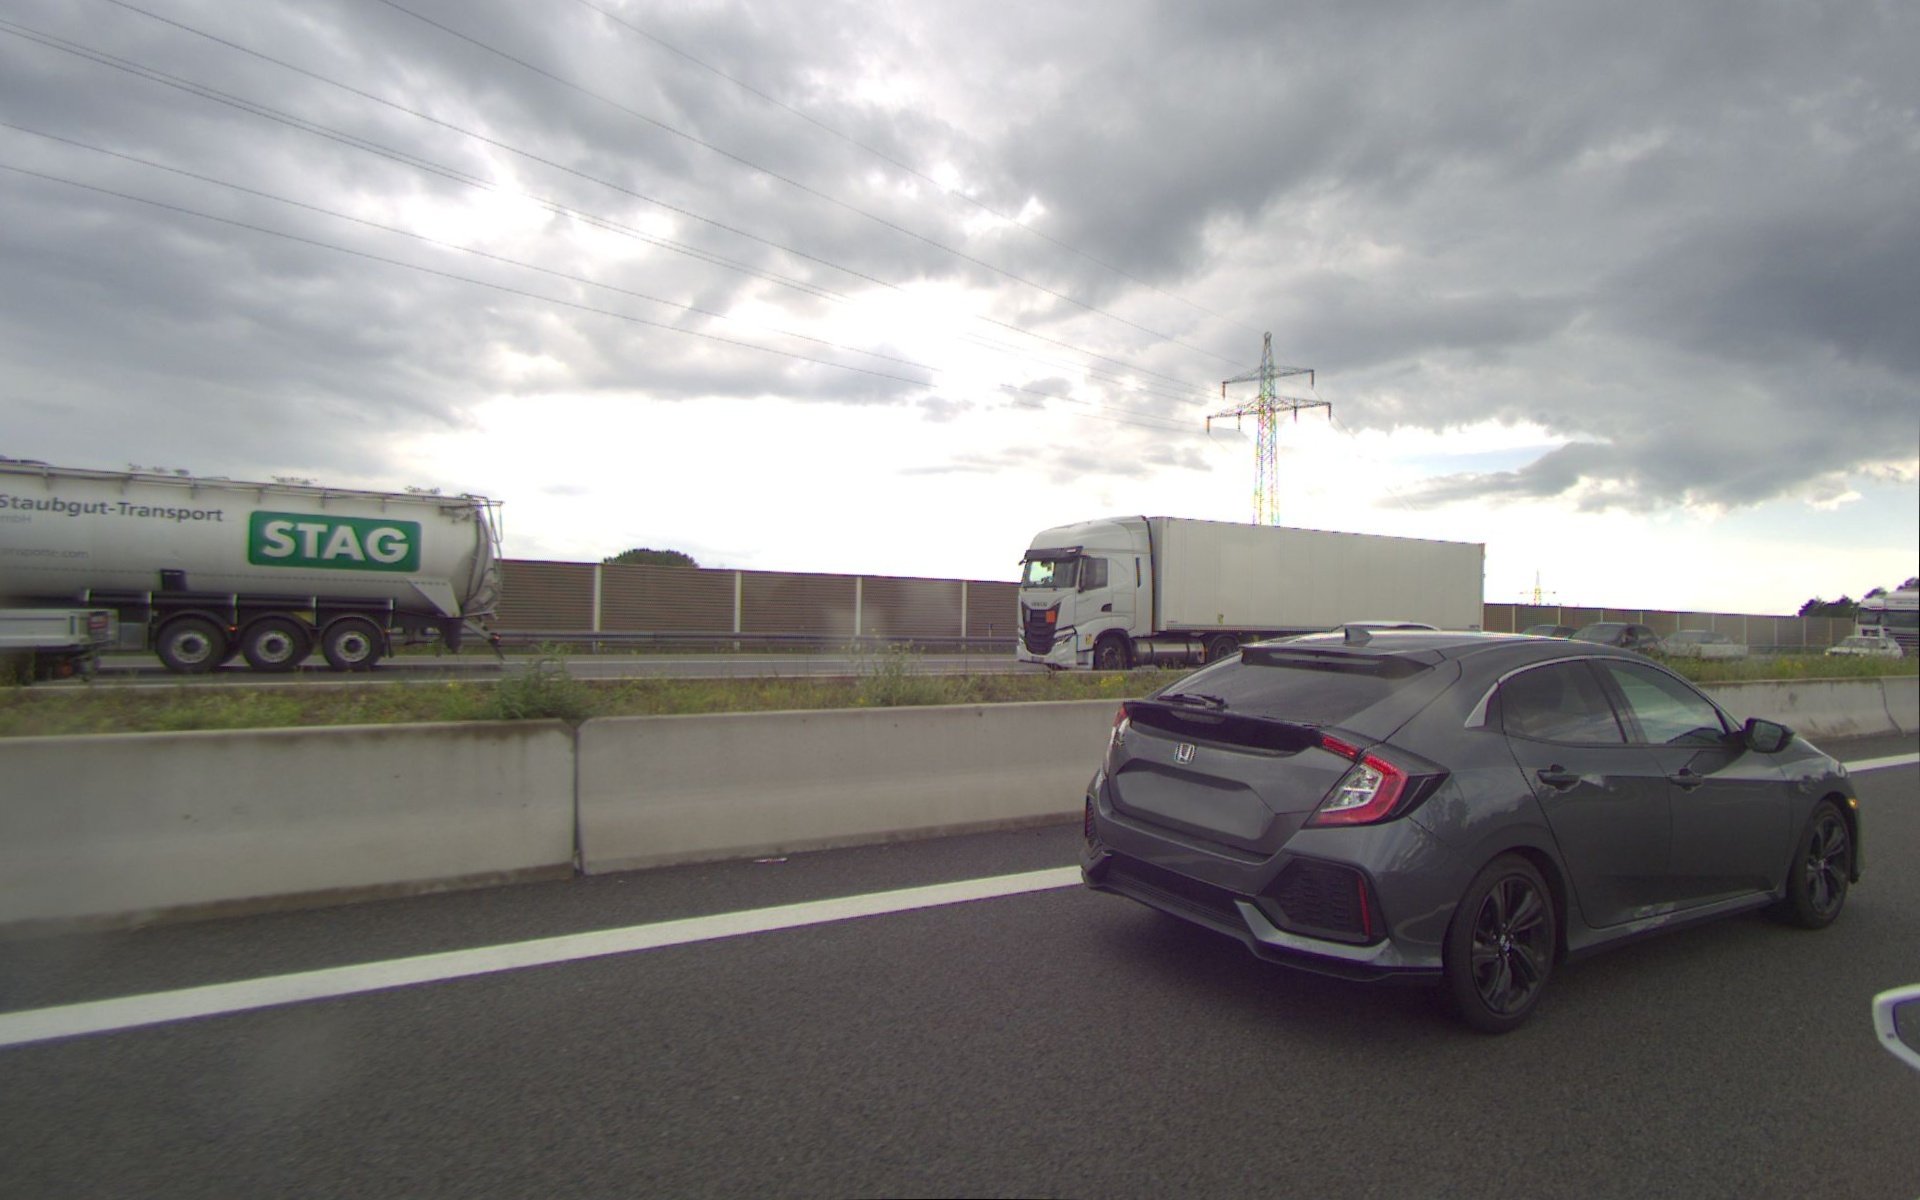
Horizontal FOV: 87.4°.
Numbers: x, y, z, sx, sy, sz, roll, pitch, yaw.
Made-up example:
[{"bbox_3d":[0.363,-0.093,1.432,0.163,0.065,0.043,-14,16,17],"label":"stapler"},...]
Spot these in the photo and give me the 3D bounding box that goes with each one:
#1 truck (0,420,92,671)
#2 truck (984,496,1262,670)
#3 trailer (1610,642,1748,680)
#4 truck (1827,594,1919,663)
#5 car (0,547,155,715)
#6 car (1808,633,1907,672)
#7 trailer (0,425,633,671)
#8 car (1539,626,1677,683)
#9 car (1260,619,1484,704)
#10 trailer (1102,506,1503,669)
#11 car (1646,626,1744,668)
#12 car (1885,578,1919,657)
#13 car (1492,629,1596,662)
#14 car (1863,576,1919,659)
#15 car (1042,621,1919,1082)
[{"bbox_3d":[-20.730,-1.056,17.266,8.142,4.376,3.642,1,0,-30],"label":"truck"},{"bbox_3d":[4.372,-0.337,26.888,6.446,4.102,3.644,1,0,-29],"label":"truck"},{"bbox_3d":[23.943,1.998,33.416,4.706,1.084,2.081,2,0,-31],"label":"trailer"},{"bbox_3d":[58.559,1.787,64.071,6.545,4.171,2.886,1,0,-31],"label":"truck"},{"bbox_3d":[-13.662,0.304,11.947,6.011,1.994,2.271,2,0,-29],"label":"car"},{"bbox_3d":[37.758,2.188,42.238,4.512,1.474,1.779,2,0,-31],"label":"car"},{"bbox_3d":[-13.723,-0.821,21.435,12.322,4.293,3.642,2,0,-31],"label":"trailer"},{"bbox_3d":[20.012,1.650,30.966,4.513,1.583,1.778,2,0,-31],"label":"car"},{"bbox_3d":[8.221,1.167,19.925,4.513,1.473,1.778,2,0,-31],"label":"car"},{"bbox_3d":[10.731,-0.181,30.493,13.238,4.163,3.643,2,0,-30],"label":"trailer"},{"bbox_3d":[31.064,1.978,42.418,4.334,1.612,1.779,2,0,-31],"label":"car"},{"bbox_3d":[57.224,1.105,56.972,14.227,4.179,2.968,2,0,-31],"label":"car"},{"bbox_3d":[24.654,1.903,42.372,4.512,1.260,1.779,2,0,-31],"label":"car"},{"bbox_3d":[51.155,0.943,53.368,5.972,4.205,2.968,1,0,-30],"label":"car"},{"bbox_3d":[2.979,0.874,5.141,5.001,1.387,1.752,2,-1,-30],"label":"car"}]
